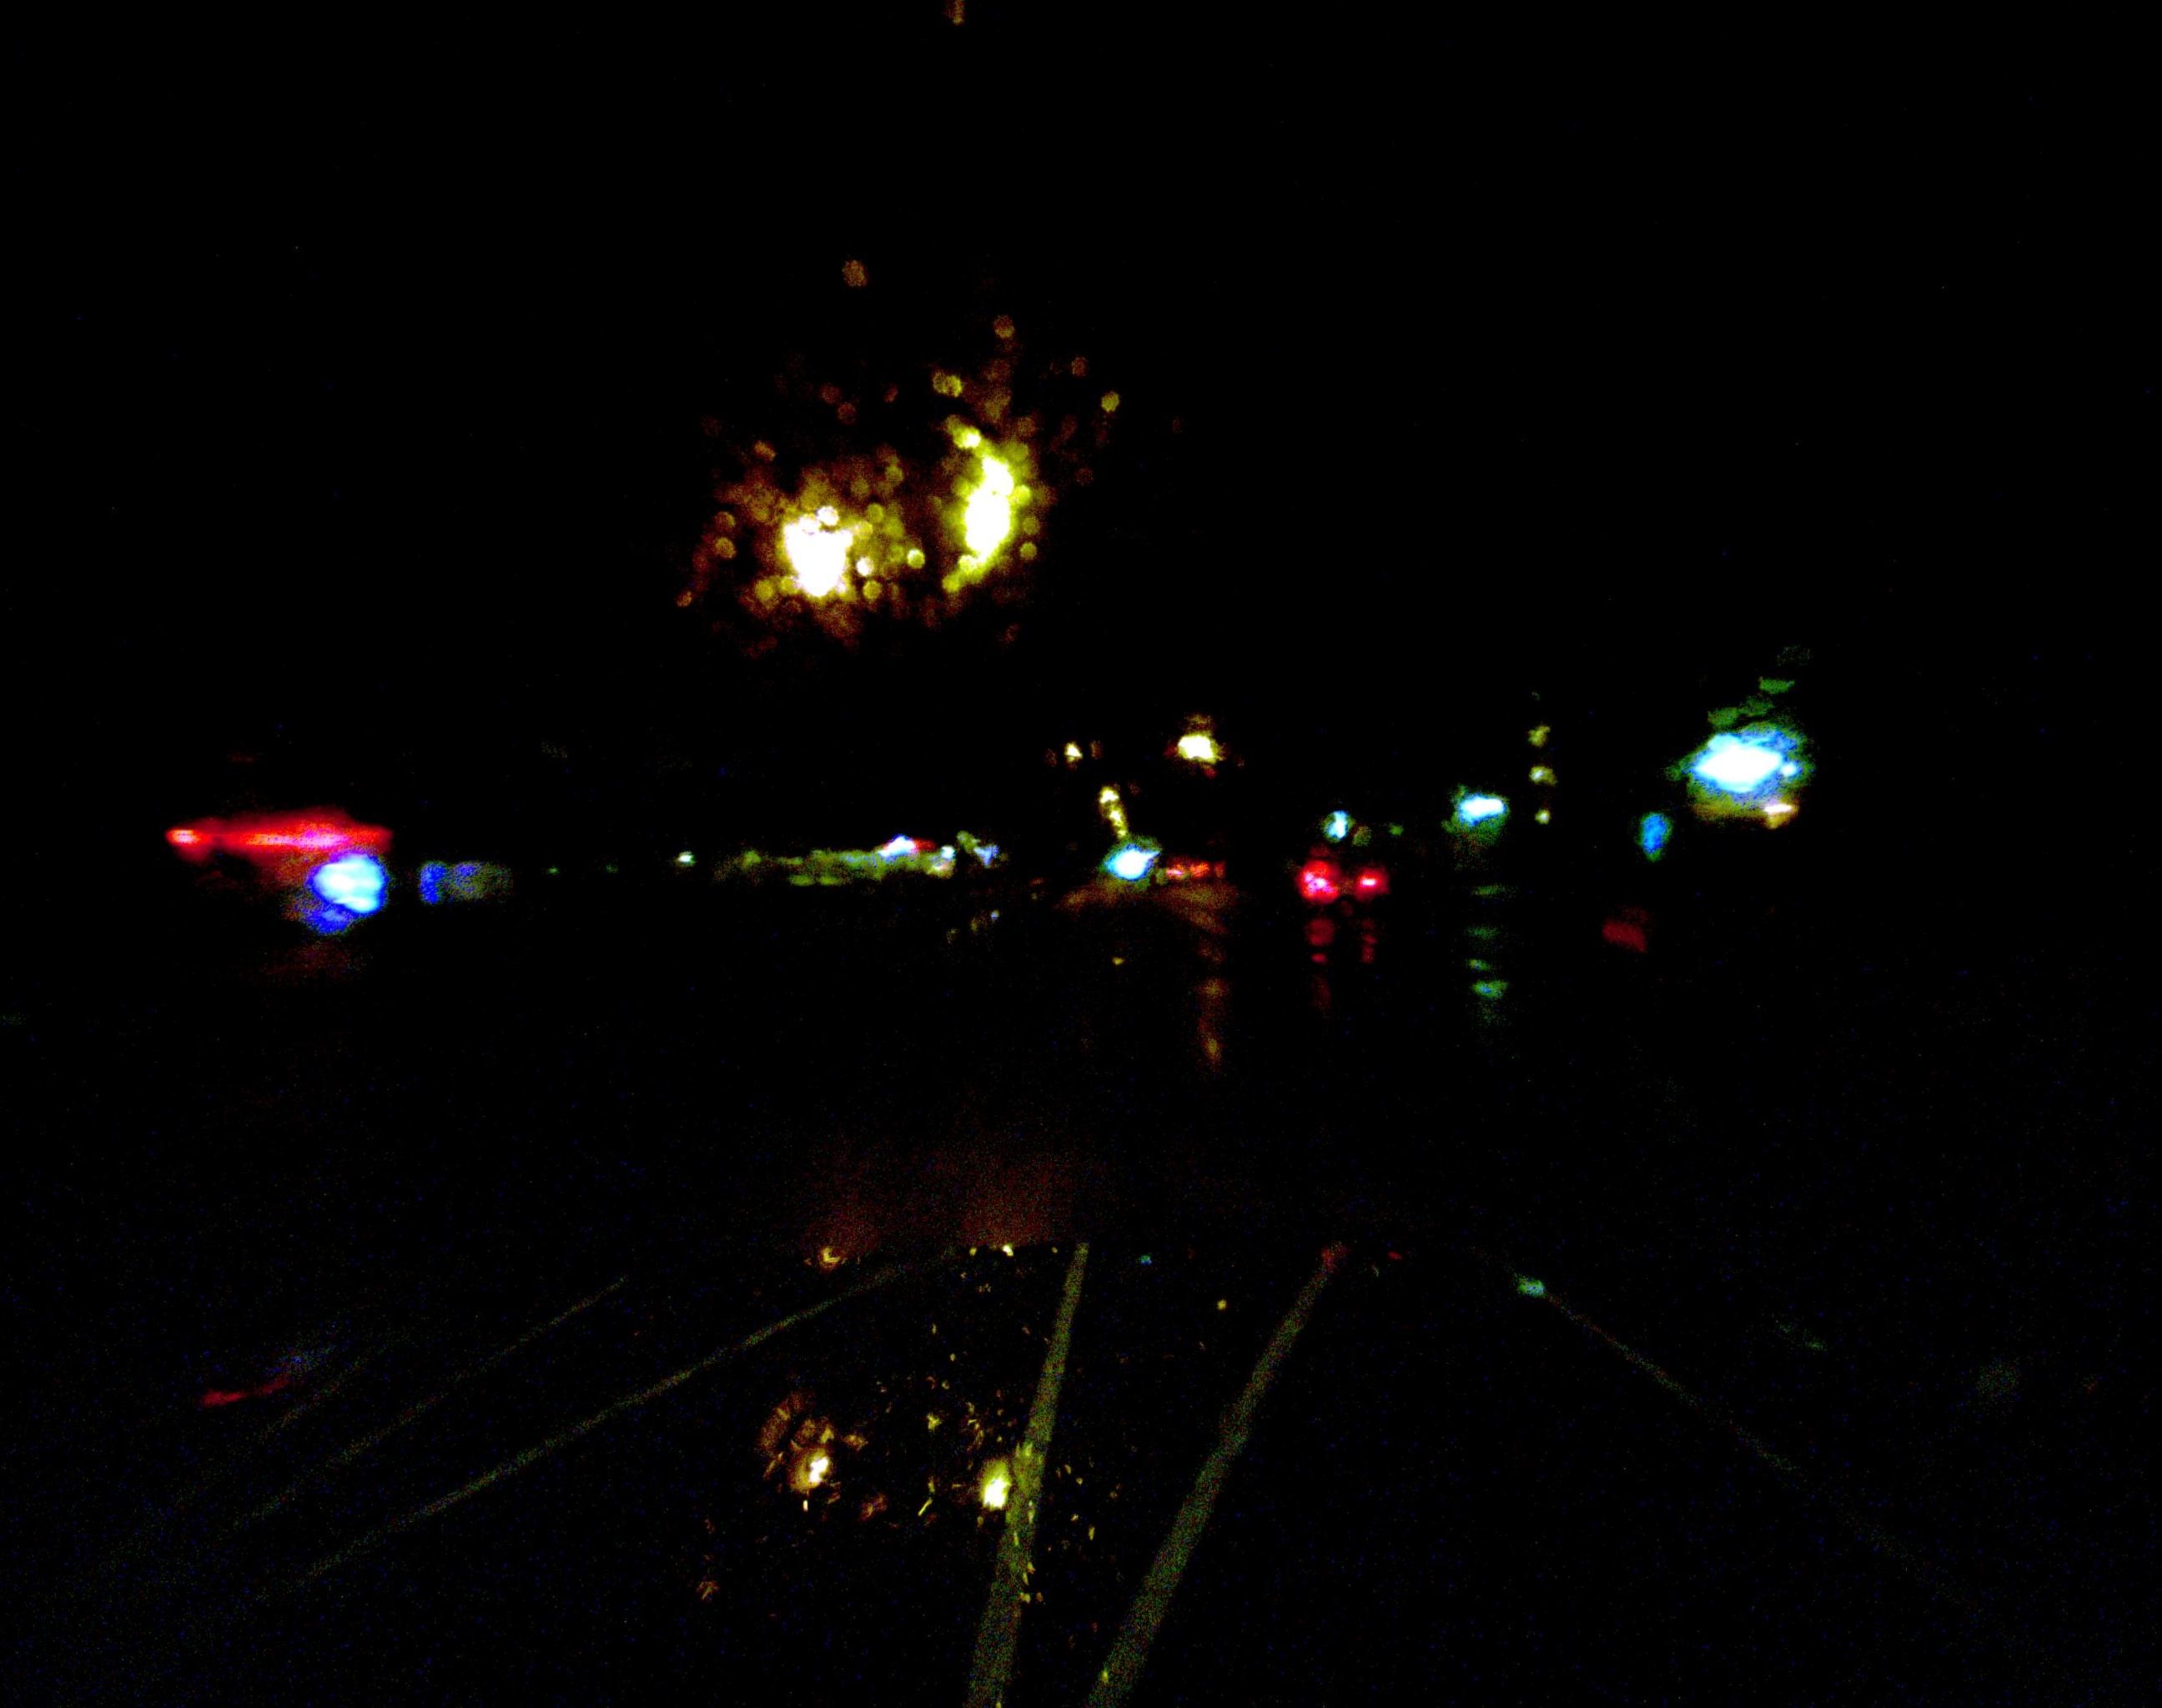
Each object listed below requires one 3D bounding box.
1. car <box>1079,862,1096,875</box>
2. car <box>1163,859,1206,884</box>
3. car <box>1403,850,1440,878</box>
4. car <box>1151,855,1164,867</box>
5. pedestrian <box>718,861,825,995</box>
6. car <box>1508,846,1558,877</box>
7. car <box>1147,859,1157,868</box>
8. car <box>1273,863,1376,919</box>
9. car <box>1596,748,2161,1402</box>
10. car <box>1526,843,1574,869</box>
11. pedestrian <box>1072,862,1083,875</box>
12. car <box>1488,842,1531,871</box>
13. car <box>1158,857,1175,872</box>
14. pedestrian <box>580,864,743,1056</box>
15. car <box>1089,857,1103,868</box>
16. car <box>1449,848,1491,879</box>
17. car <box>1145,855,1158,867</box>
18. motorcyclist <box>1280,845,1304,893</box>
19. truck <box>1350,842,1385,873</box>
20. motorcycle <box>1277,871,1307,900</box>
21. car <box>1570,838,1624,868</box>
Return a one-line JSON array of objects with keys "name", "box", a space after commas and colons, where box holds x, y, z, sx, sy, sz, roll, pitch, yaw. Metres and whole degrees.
[{"name": "car", "box": [0.856, 1.772, 96.281, 1.826, 1.521, 4.784, -1, 0, 3]}, {"name": "car", "box": [6.554, 1.128, 48.738, 1.857, 1.490, 4.769, -2, -1, -3]}, {"name": "car", "box": [18.783, 0.517, 41.995, 1.715, 1.423, 3.925, -2, 0, 23]}, {"name": "car", "box": [10.429, 0.990, 103.842, 1.601, 1.595, 4.260, 1, 0, 4]}, {"name": "pedestrian", "box": [-4.413, 1.027, 10.910, 1.110, 1.815, 0.851, -2, 0, 4]}, {"name": "car", "box": [23.572, 0.371, 39.745, 1.715, 1.511, 3.925, -2, 0, 23]}, {"name": "car", "box": [11.512, 1.507, 123.106, 1.434, 1.452, 3.375, 1, 0, 5]}, {"name": "car", "box": [7.066, 1.025, 22.465, 1.650, 1.502, 4.109, 0, -1, -2]}, {"name": "car", "box": [4.209, 0.631, 2.192, 2.039, 1.942, 5.202, -2, -1, 2]}, {"name": "car", "box": [30.662, 0.101, 49.796, 1.866, 1.603, 4.501, -2, 0, 22]}, {"name": "pedestrian", "box": [-0.410, 1.807, 93.292, 1.052, 1.566, 1.019, -3, 0, 9]}, {"name": "car", "box": [28.240, 0.125, 50.188, 1.866, 1.784, 4.501, -2, 0, 22]}, {"name": "car", "box": [9.258, 1.114, 82.307, 1.601, 1.555, 4.381, 1, 0, 4]}, {"name": "pedestrian", "box": [-4.201, 1.023, 7.683, 1.109, 1.815, 0.851, -2, 0, 6]}, {"name": "car", "box": [2.043, 1.096, 102.292, 1.826, 1.413, 4.489, -1, 0, 3]}, {"name": "car", "box": [20.914, 0.493, 40.984, 1.715, 1.511, 3.925, -2, 0, 23]}, {"name": "car", "box": [9.105, 0.928, 98.723, 1.601, 1.478, 4.276, 1, 0, 4]}, {"name": "motorcyclist", "box": [8.851, 0.626, 31.942, 0.694, 2.002, 0.983, -2, 0, 2]}, {"name": "truck", "box": [20.201, 0.268, 53.375, 2.125, 2.001, 5.271, -2, -1, 22]}, {"name": "motorcycle", "box": [8.865, 1.310, 31.952, 0.703, 1.132, 2.176, -2, -1, 3]}, {"name": "car", "box": [32.722, -0.069, 48.302, 1.866, 1.750, 4.501, -2, 0, 22]}]
